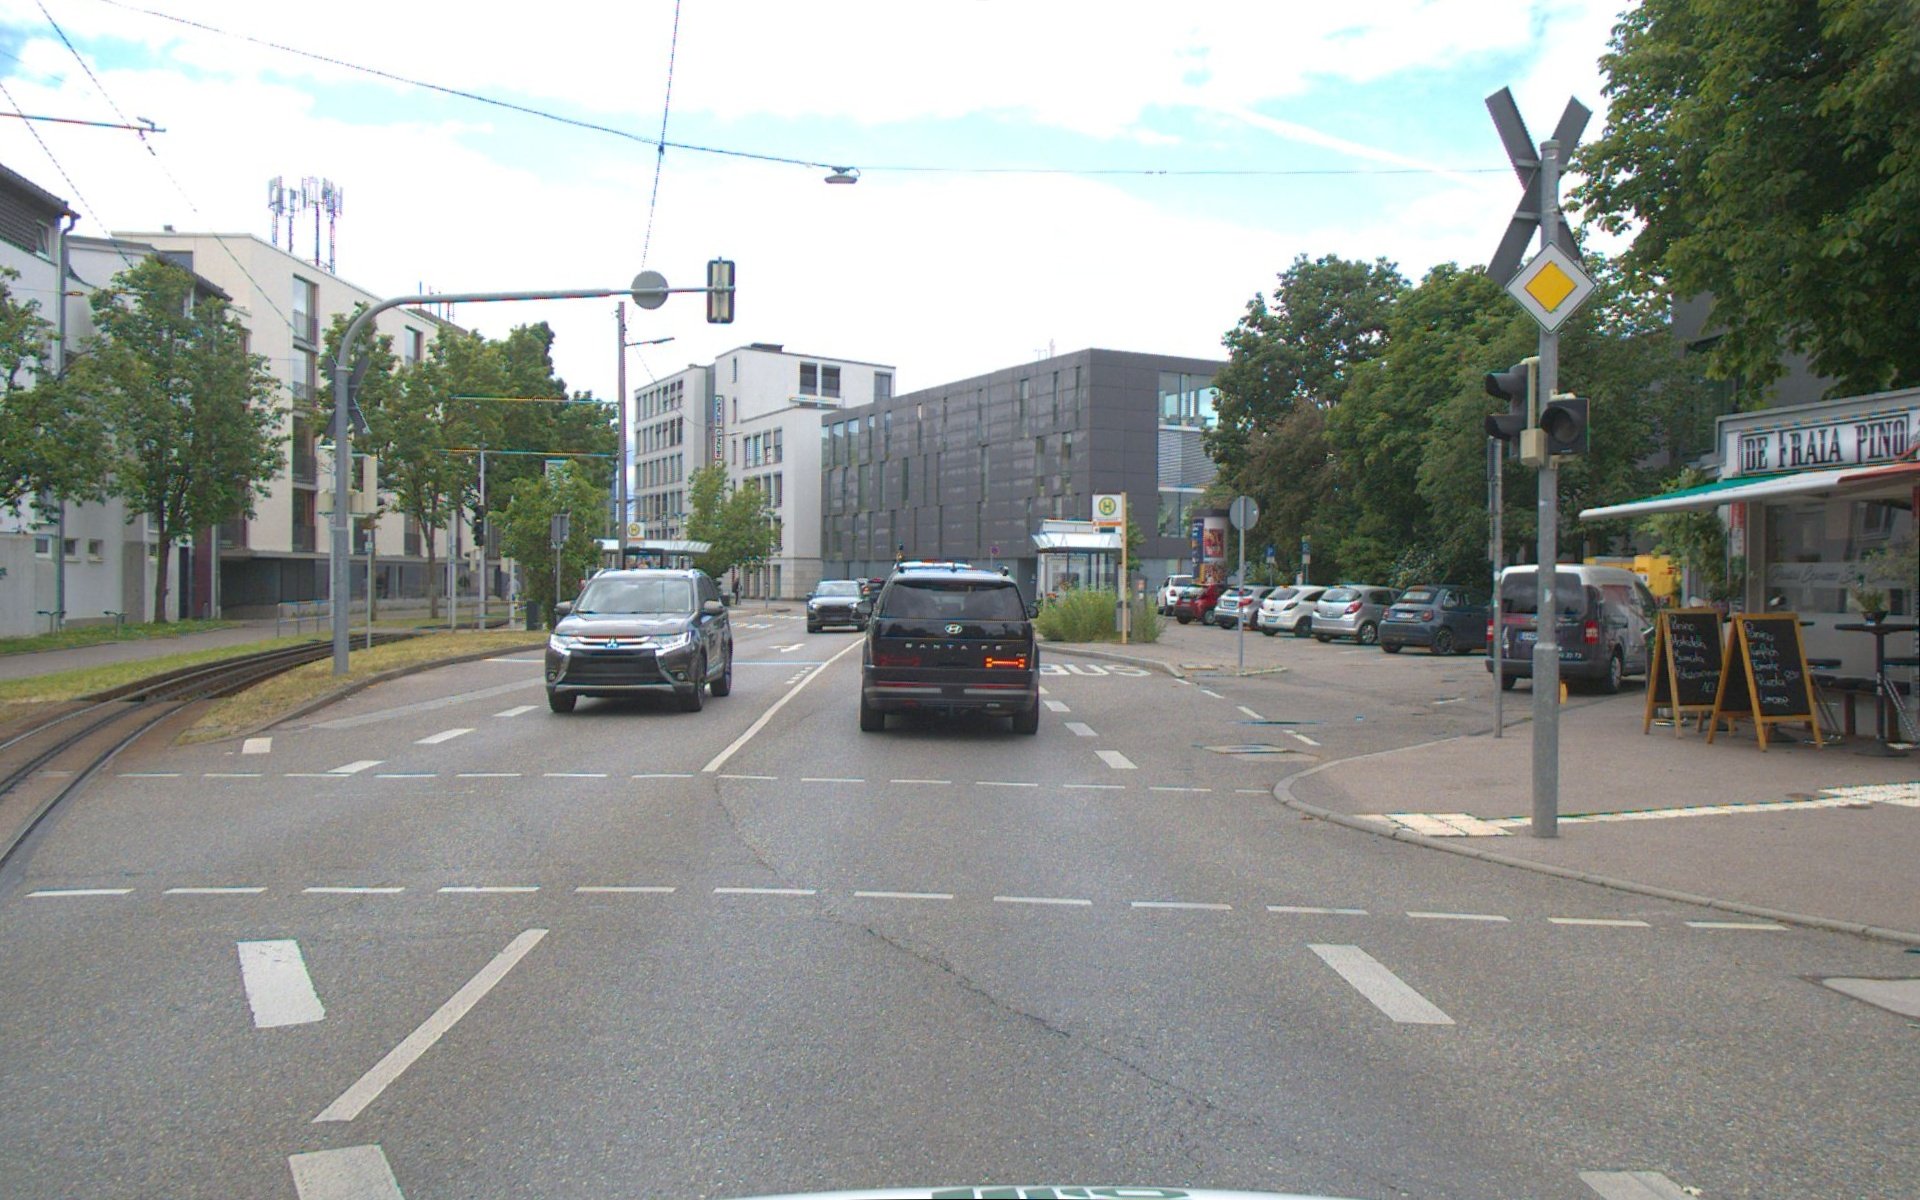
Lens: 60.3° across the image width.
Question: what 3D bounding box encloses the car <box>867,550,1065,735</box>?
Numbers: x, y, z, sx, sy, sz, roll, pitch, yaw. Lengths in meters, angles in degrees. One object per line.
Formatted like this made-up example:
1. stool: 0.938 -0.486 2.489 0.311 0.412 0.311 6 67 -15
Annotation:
1. car: -0.040 0.382 18.213 1.877 1.755 4.168 2 1 -3

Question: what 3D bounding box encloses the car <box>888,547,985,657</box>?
1. car: -0.533 -0.016 33.354 1.818 2.069 4.435 0 1 -2

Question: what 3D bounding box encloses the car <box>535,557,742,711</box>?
1. car: -3.857 0.353 20.532 1.751 1.690 4.276 -1 1 -1

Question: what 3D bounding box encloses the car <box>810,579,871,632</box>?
1. car: -3.717 0.142 52.069 1.704 1.586 4.182 -1 1 -1

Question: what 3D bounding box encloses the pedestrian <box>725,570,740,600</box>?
1. pedestrian: -14.130 -0.936 102.717 0.922 1.832 0.589 0 1 -12

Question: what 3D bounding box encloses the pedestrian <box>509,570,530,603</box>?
1. pedestrian: -23.254 -0.712 87.323 0.900 1.749 0.906 0 0 -1

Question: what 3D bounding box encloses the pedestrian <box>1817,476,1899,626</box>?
1. pedestrian: 10.943 -0.605 20.172 0.670 1.789 0.678 -1 3 6

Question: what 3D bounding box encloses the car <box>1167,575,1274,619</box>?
1. car: 9.220 -0.101 58.490 3.453 1.480 1.665 2 0 -29

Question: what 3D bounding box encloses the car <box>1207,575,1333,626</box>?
1. car: 9.980 0.009 53.228 3.752 1.499 1.780 2 -1 -31

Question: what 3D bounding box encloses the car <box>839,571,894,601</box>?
1. car: -5.625 -0.810 98.981 1.824 1.706 4.342 -1 1 -24

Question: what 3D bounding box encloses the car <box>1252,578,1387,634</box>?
1. car: 10.273 0.170 47.229 3.597 1.460 1.577 -2 0 -28

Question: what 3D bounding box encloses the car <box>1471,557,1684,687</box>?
1. car: 9.431 0.248 25.043 1.815 1.779 4.677 1 1 37

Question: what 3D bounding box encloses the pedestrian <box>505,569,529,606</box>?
1. pedestrian: -21.191 -0.588 79.176 0.900 1.749 0.906 0 0 -1

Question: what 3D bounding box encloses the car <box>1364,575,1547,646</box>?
1. car: 11.149 0.211 37.155 3.949 1.503 1.859 0 1 -33

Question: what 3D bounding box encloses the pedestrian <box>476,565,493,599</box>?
1. pedestrian: -24.694 -0.936 85.890 0.601 1.724 0.785 1 0 -1

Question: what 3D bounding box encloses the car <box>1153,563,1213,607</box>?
1. car: 9.796 -0.645 73.007 1.953 1.870 4.517 -1 0 -1

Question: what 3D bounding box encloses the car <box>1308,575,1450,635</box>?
1. car: 10.698 0.098 42.193 3.471 1.402 1.531 -1 3 -32

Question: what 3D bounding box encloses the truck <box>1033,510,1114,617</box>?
1. truck: 3.970 -1.270 59.356 2.520 3.586 7.812 0 1 1
